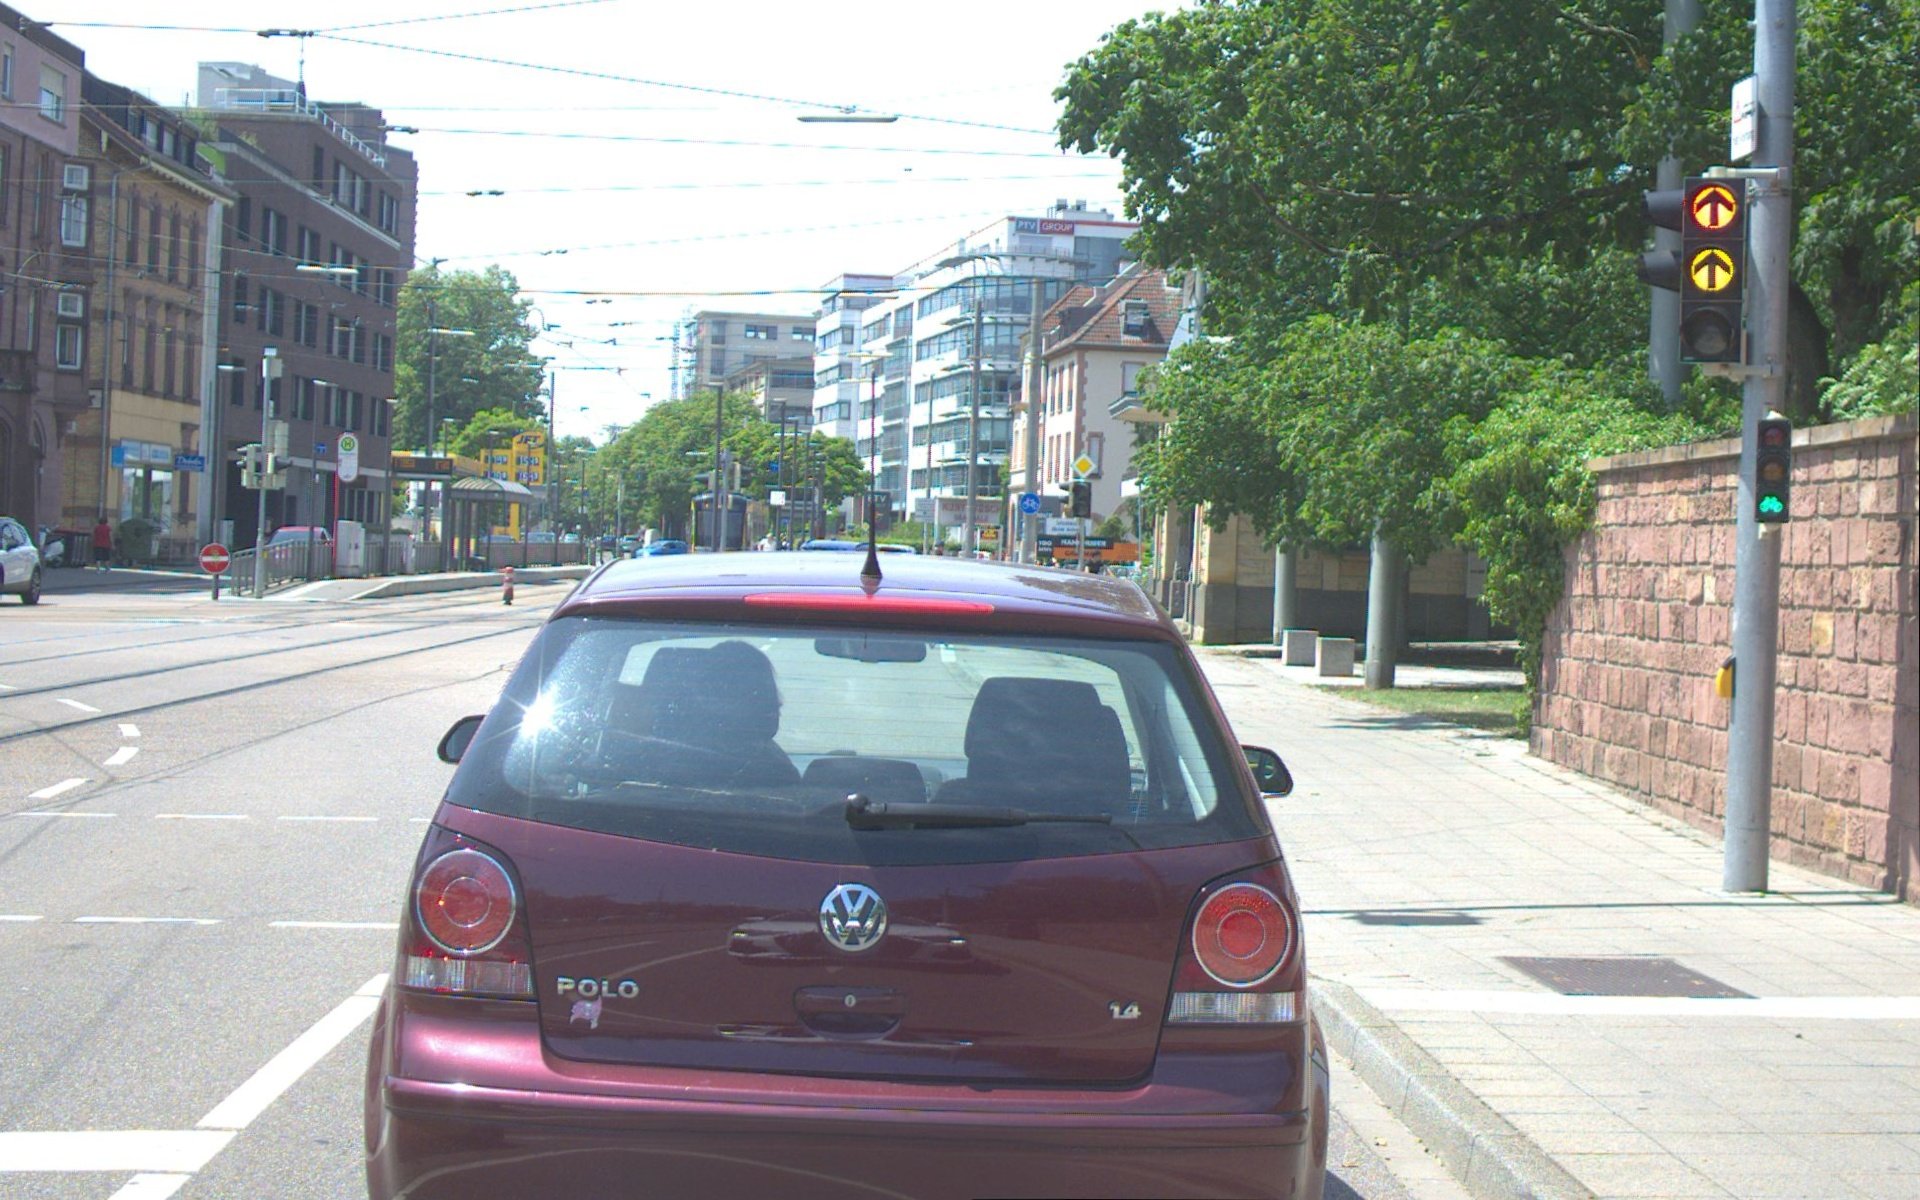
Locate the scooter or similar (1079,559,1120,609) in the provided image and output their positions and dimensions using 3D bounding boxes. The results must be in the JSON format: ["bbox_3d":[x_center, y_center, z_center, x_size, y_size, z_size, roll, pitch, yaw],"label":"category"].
[{"bbox_3d":[3.408,-0.401,84.221,0.339,1.174,1.468,2,1,-25],"label":"scooter or similar"}]

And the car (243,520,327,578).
[{"bbox_3d":[-18.460,-1.405,94.181,1.624,1.478,3.829,2,1,-2],"label":"car"}]

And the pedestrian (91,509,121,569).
[{"bbox_3d":[-22.583,-1.625,90.928,0.614,1.555,0.640,2,1,-1],"label":"pedestrian"}]

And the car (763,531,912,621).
[{"bbox_3d":[-2.350,-0.481,67.415,1.994,1.619,4.630,2,1,9],"label":"car"}]

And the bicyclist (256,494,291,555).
[{"bbox_3d":[-20.451,-2.252,102.457,0.732,1.756,1.135,3,1,0],"label":"bicyclist"}]

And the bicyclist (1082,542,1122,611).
[{"bbox_3d":[3.417,-0.566,82.685,0.832,1.613,0.860,-2,0,-1],"label":"bicyclist"}]

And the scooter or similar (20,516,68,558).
[{"bbox_3d":[-24.409,-1.670,91.628,0.488,1.078,1.576,2,1,16],"label":"scooter or similar"}]

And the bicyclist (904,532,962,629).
[{"bbox_3d":[-0.493,-0.365,63.205,0.728,1.754,0.923,2,1,20],"label":"bicyclist"}]

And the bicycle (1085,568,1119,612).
[{"bbox_3d":[3.406,-0.253,82.642,0.668,0.999,1.864,-2,1,-1],"label":"bicycle"}]

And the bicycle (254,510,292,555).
[{"bbox_3d":[-20.469,-2.004,102.436,0.677,1.300,2.105,3,1,0],"label":"bicycle"}]

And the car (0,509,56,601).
[{"bbox_3d":[-17.189,-0.815,59.481,1.993,1.547,4.139,2,1,-1],"label":"car"}]

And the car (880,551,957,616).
[{"bbox_3d":[-1.013,-0.431,85.641,1.823,1.525,4.000,2,1,0],"label":"car"}]

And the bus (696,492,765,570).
[{"bbox_3d":[-9.310,-2.791,139.929,2.145,2.993,6.573,2,1,1],"label":"bus"}]

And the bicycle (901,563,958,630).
[{"bbox_3d":[-0.548,-0.078,62.946,0.376,1.193,1.903,2,1,19],"label":"bicycle"}]

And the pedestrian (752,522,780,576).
[{"bbox_3d":[-6.177,-1.616,109.432,0.763,1.669,1.100,2,1,0],"label":"pedestrian"}]

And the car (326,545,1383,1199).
[{"bbox_3d":[-0.210,0.647,6.725,1.561,1.448,3.062,2,1,-2],"label":"car"}]
